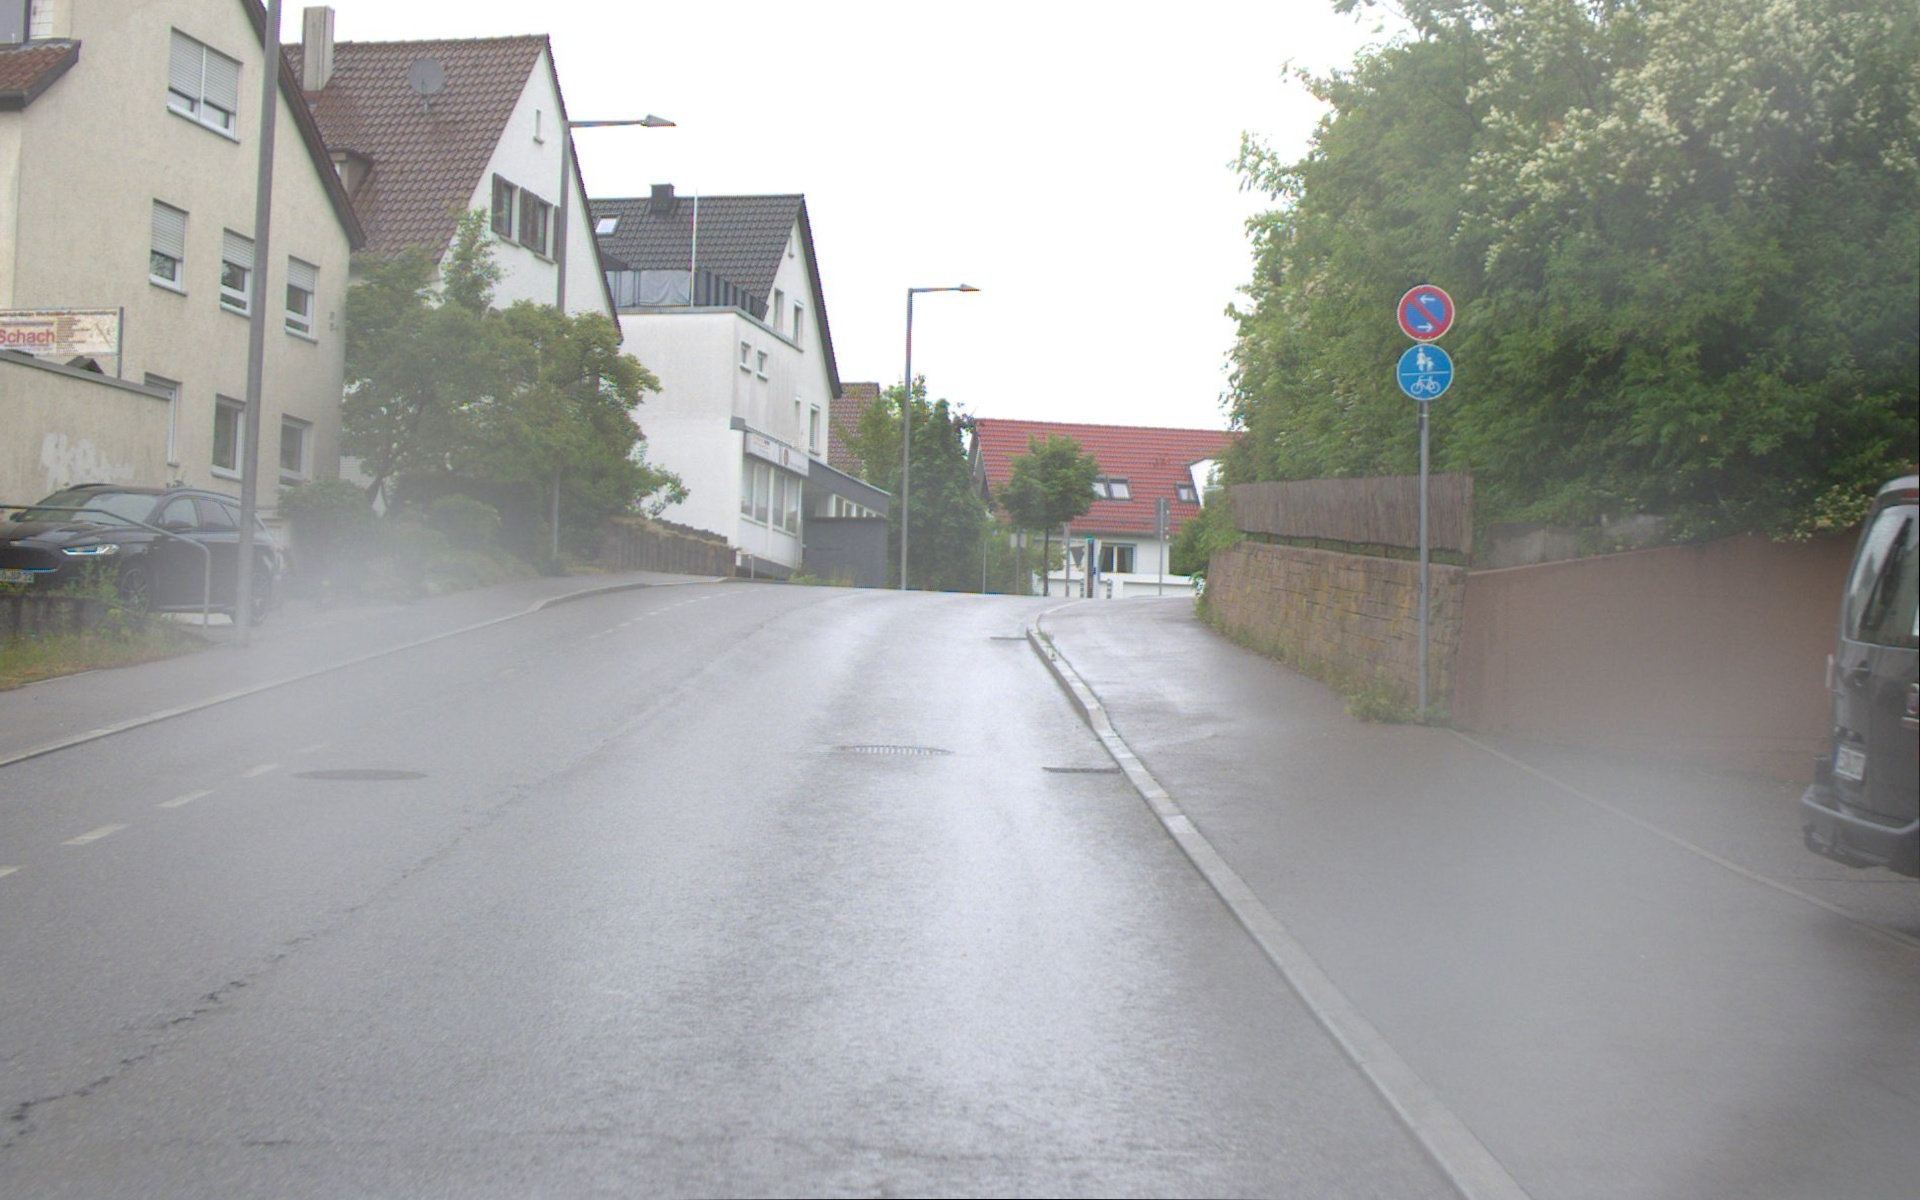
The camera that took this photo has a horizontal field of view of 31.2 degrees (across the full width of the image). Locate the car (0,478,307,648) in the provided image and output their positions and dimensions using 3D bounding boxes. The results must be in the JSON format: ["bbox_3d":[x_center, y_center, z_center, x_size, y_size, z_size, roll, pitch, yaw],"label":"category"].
[{"bbox_3d":[-8.870,-0.412,36.502,1.975,1.653,4.960,1,1,13],"label":"car"}]

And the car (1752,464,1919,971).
[{"bbox_3d":[5.676,0.434,13.326,4.707,1.814,2.000,1,1,-1],"label":"car"}]
